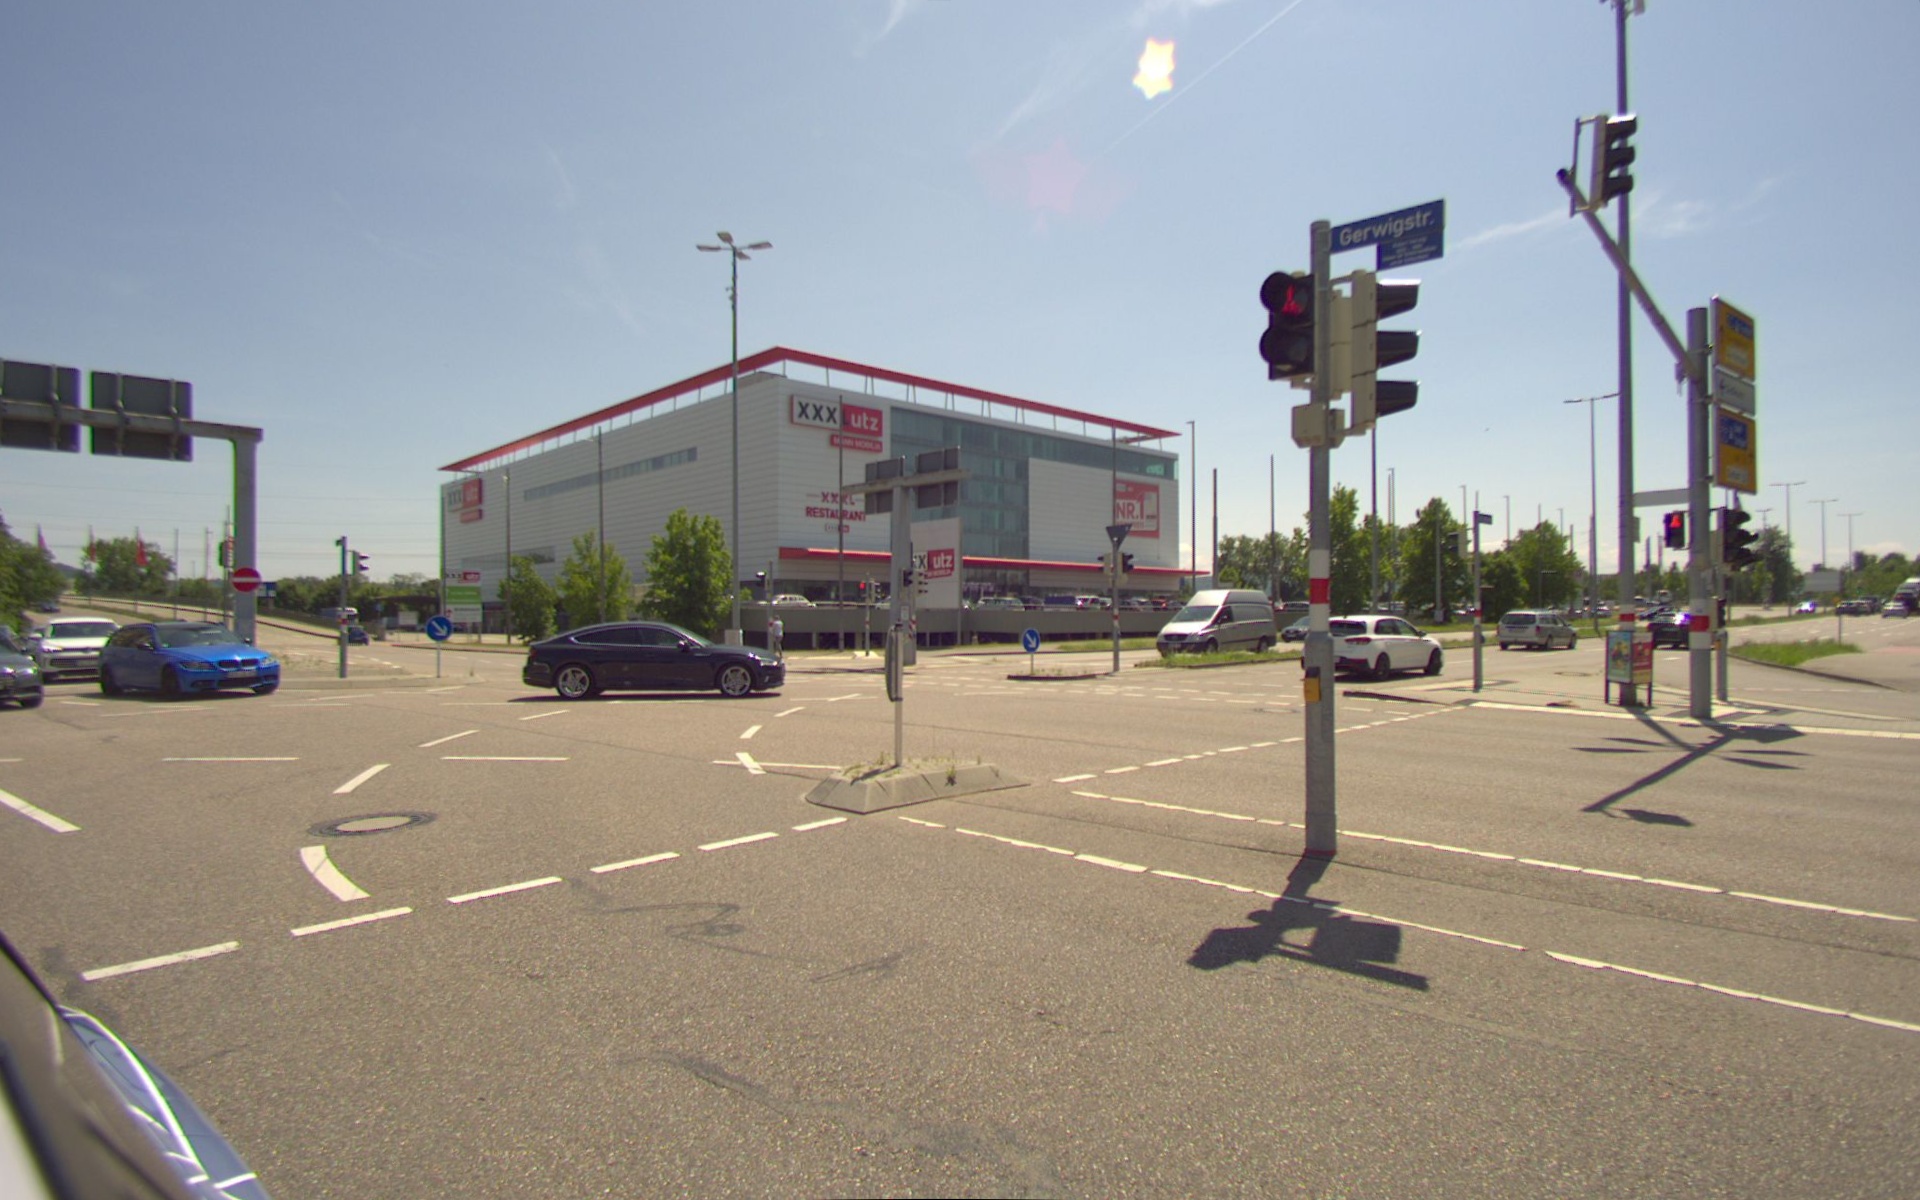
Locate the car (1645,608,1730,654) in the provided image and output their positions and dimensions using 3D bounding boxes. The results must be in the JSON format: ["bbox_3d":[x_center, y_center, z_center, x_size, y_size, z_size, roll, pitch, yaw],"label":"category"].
[{"bbox_3d":[28.965,1.278,40.251,4.487,1.452,1.805,6,-10,-43],"label":"car"}]

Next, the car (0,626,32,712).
[{"bbox_3d":[-17.538,1.165,17.431,4.085,1.393,1.747,-1,-1,39],"label":"car"}]

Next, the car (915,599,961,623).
[{"bbox_3d":[-1.949,0.986,89.989,1.757,2.029,4.138,1,-1,-45],"label":"car"}]

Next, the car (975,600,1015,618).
[{"bbox_3d":[3.520,0.898,101.987,1.757,1.801,3.842,1,-1,-45],"label":"car"}]

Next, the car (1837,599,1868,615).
[{"bbox_3d":[90.532,0.739,102.626,3.552,1.564,1.928,0,-1,-42],"label":"car"}]

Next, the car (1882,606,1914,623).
[{"bbox_3d":[90.890,1.378,98.033,3.940,1.564,2.002,0,-1,-43],"label":"car"}]

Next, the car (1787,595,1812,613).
[{"bbox_3d":[97.462,0.439,117.502,3.941,2.029,1.817,1,-2,-45],"label":"car"}]

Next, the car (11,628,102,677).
[{"bbox_3d":[-29.527,1.676,33.181,1.741,1.433,3.909,-2,-1,-35],"label":"car"}]

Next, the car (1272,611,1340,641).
[{"bbox_3d":[18.430,1.377,53.867,3.940,1.519,1.861,0,-1,-44],"label":"car"}]

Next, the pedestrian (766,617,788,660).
[{"bbox_3d":[-7.749,1.636,42.863,0.596,1.797,0.827,1,-2,-42],"label":"pedestrian"}]

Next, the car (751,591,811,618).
[{"bbox_3d":[-13.975,0.354,79.075,4.407,2.029,1.680,1,-2,-44],"label":"car"}]

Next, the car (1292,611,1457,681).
[{"bbox_3d":[9.733,1.030,23.656,4.005,1.447,1.797,0,-1,-38],"label":"car"}]

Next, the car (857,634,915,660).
[{"bbox_3d":[-5.294,3.379,72.905,1.999,1.719,3.945,-2,-2,41],"label":"car"}]

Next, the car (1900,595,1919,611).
[{"bbox_3d":[100.279,0.320,106.372,3.941,1.564,2.001,0,-1,-45],"label":"car"}]

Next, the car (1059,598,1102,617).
[{"bbox_3d":[12.300,0.784,103.444,1.970,1.915,4.003,1,-2,-44],"label":"car"}]

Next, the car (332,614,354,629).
[{"bbox_3d":[-98.995,3.421,162.289,2.160,2.300,4.819,1,-2,-42],"label":"car"}]

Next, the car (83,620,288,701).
[{"bbox_3d":[-15.350,1.160,20.007,4.415,1.413,1.752,-2,-1,31],"label":"car"}]

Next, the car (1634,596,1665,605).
[{"bbox_3d":[108.332,0.120,158.979,4.001,1.433,1.677,-1,-1,37],"label":"car"}]

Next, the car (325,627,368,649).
[{"bbox_3d":[-48.427,2.988,79.855,1.971,1.608,4.002,0,-1,-45],"label":"car"}]

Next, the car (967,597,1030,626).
[{"bbox_3d":[2.802,0.866,73.673,4.328,2.029,1.973,-1,-1,41],"label":"car"}]

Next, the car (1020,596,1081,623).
[{"bbox_3d":[6.925,0.747,77.463,4.327,2.029,1.973,-1,-1,41],"label":"car"}]

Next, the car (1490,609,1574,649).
[{"bbox_3d":[21.749,1.124,38.445,3.949,1.433,1.699,2,-3,-44],"label":"car"}]

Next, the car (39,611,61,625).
[{"bbox_3d":[-117.701,2.323,130.877,1.970,1.719,4.004,1,-1,-43],"label":"car"}]

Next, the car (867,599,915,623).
[{"bbox_3d":[-5.967,0.976,86.850,1.757,2.029,4.236,1,-1,-45],"label":"car"}]

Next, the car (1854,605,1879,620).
[{"bbox_3d":[95.435,1.345,106.544,3.368,1.564,1.647,0,-1,-42],"label":"car"}]

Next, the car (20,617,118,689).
[{"bbox_3d":[-22.998,1.318,26.241,1.743,1.653,4.499,-2,0,-40],"label":"car"}]

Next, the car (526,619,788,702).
[{"bbox_3d":[-5.420,1.075,18.572,4.396,1.415,1.679,0,-2,-7],"label":"car"}]

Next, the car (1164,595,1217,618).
[{"bbox_3d":[20.978,0.646,92.064,1.970,2.029,4.332,1,-1,-45],"label":"car"}]

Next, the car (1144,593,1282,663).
[{"bbox_3d":[8.626,0.911,34.212,4.970,2.200,2.003,0,-2,-41],"label":"car"}]
